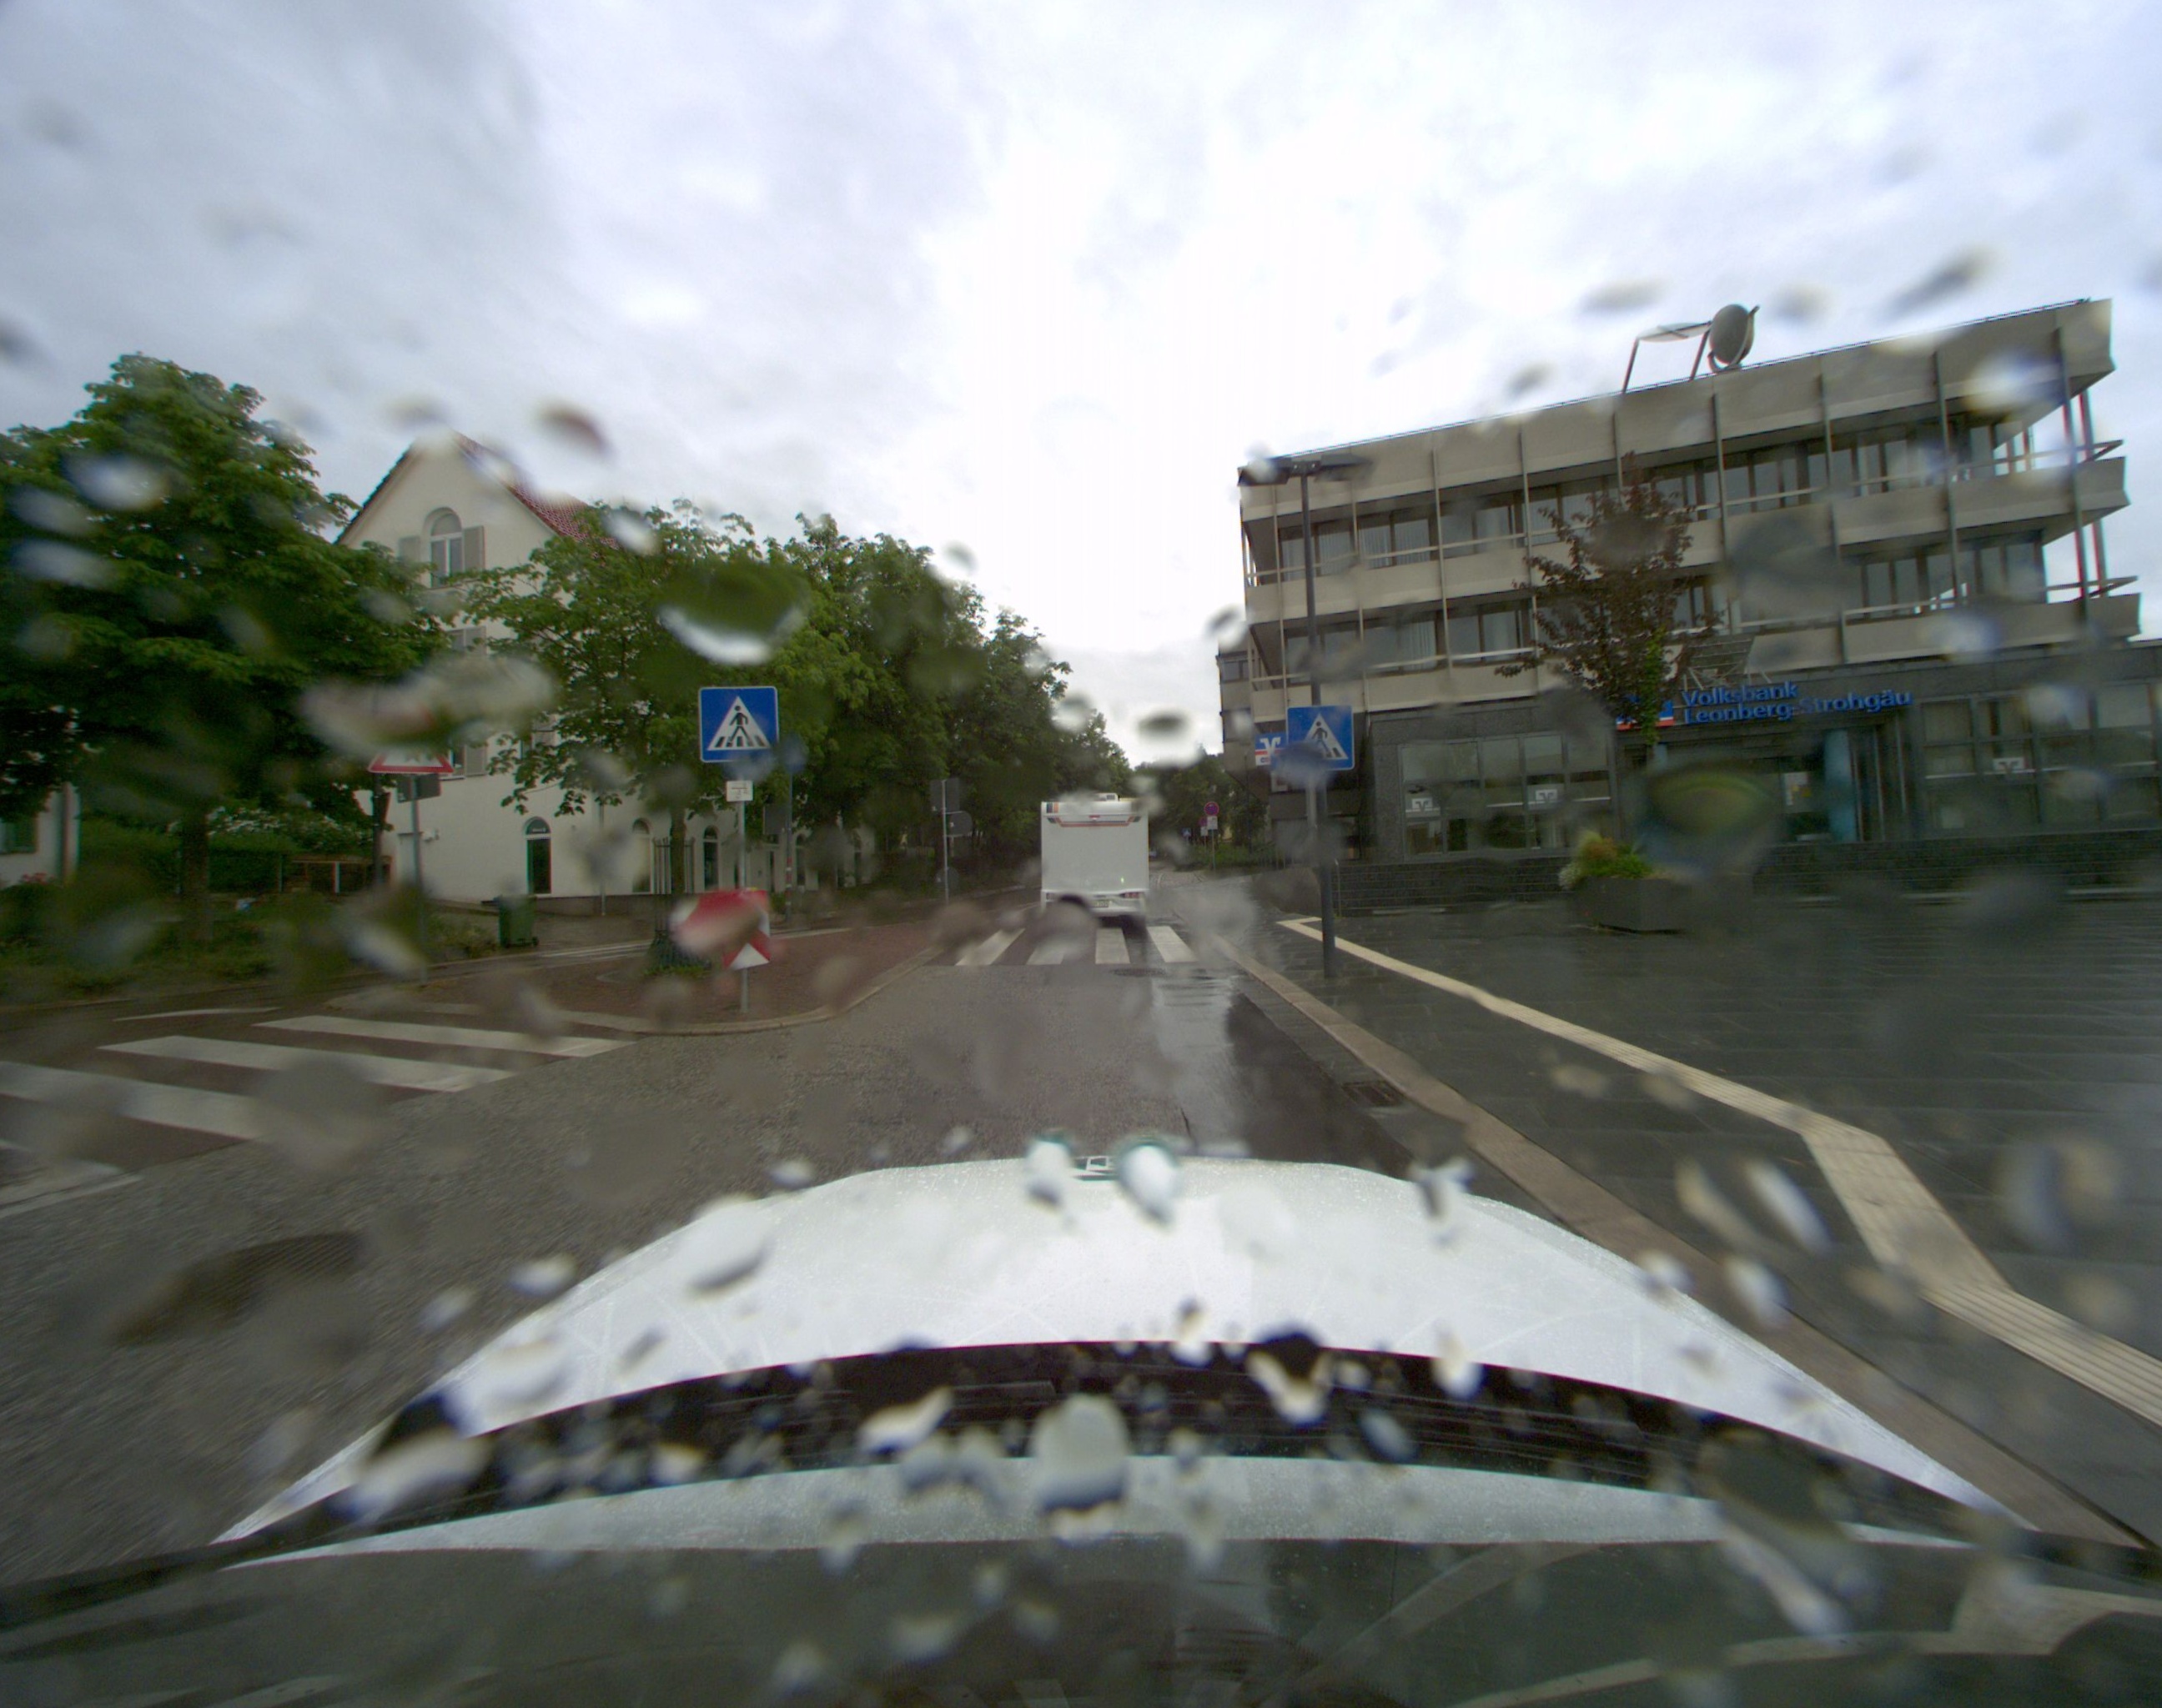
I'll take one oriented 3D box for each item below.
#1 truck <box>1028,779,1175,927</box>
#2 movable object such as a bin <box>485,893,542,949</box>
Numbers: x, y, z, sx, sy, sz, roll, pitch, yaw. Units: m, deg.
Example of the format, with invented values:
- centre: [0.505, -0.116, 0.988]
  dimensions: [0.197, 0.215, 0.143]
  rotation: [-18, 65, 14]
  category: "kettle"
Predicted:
- centre: [0.523, 0.053, 19.474]
  dimensions: [2.795, 2.797, 6.109]
  rotation: [-4, -2, 2]
  category: "truck"
- centre: [-11.437, 1.339, 16.427]
  dimensions: [0.628, 1.059, 0.702]
  rotation: [-4, -2, 27]
  category: "movable object such as a bin"
